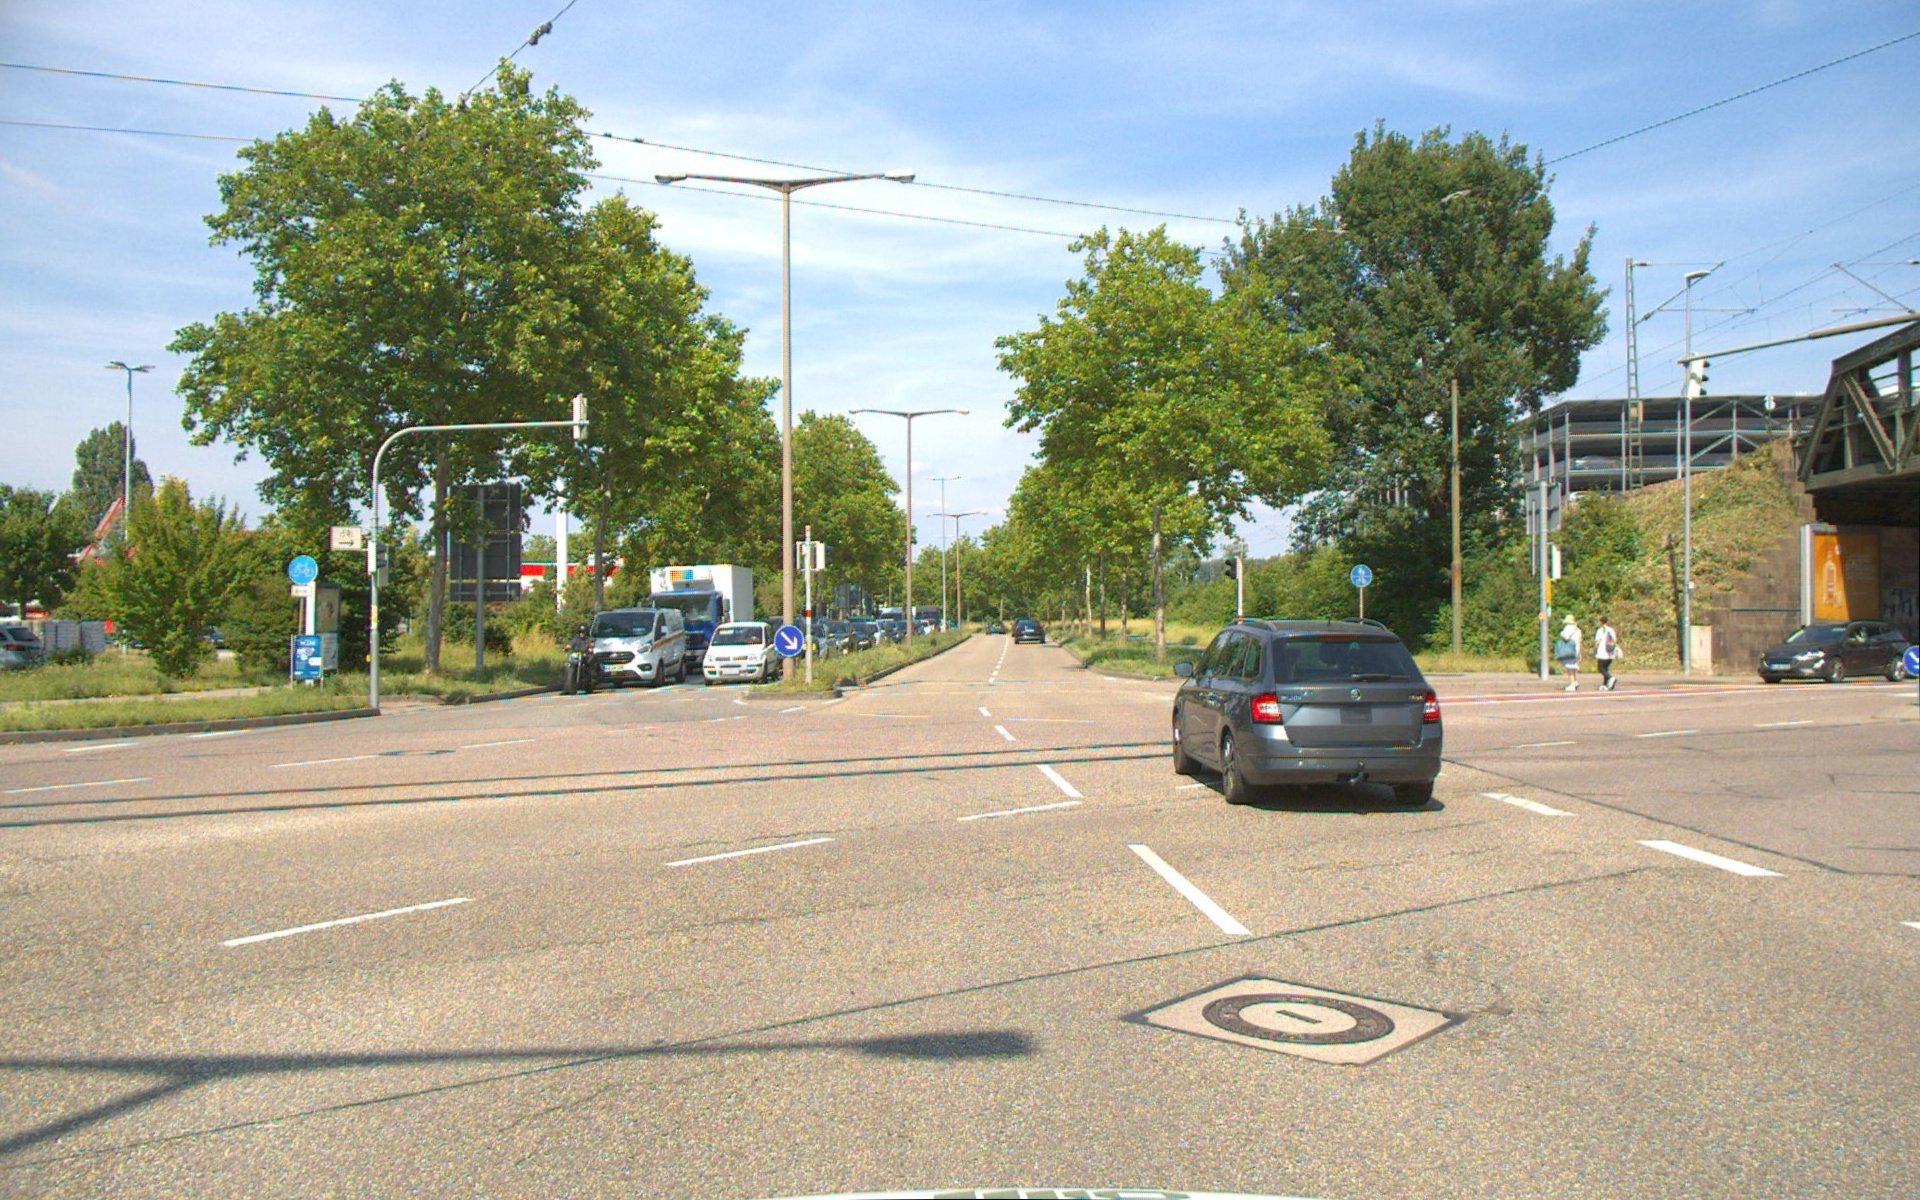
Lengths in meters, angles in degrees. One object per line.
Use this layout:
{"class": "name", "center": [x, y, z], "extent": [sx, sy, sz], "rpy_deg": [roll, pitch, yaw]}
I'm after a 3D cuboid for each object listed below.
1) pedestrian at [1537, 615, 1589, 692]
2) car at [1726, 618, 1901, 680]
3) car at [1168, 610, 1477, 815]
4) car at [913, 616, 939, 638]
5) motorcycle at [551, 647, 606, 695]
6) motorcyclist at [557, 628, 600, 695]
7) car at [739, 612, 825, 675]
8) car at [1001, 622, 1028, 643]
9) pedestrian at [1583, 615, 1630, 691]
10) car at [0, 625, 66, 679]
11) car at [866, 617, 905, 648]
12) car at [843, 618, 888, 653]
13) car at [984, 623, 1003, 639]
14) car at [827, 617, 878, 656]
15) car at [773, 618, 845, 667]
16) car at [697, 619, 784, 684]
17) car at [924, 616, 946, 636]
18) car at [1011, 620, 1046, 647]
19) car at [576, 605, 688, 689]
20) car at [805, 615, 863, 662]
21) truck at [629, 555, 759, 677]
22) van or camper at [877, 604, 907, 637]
{"class": "pedestrian", "center": [13.118, 1.151, 35.980], "extent": [0.850, 1.640, 0.777], "rpy_deg": [0, -1, 1]}
{"class": "car", "center": [20.894, 1.157, 40.442], "extent": [4.448, 1.433, 1.976], "rpy_deg": [0, -1, -35]}
{"class": "car", "center": [2.933, 0.842, 14.234], "extent": [1.640, 1.479, 4.034], "rpy_deg": [1, 0, -2]}
{"class": "car", "center": [-2.489, 1.937, 121.014], "extent": [1.654, 1.537, 3.815], "rpy_deg": [-1, 0, 2]}
{"class": "motorcycle", "center": [-8.665, 1.592, 37.665], "extent": [0.673, 1.009, 2.218], "rpy_deg": [0, 0, 2]}
{"class": "motorcyclist", "center": [-8.694, 1.394, 37.762], "extent": [0.728, 1.496, 0.988], "rpy_deg": [0, -1, 2]}
{"class": "car", "center": [-5.083, 1.251, 47.828], "extent": [1.782, 1.675, 4.694], "rpy_deg": [-1, -2, 2]}
{"class": "car", "center": [4.280, 2.557, 130.431], "extent": [1.869, 1.489, 4.581], "rpy_deg": [0, 0, -1]}
{"class": "pedestrian", "center": [14.001, 1.139, 35.829], "extent": [0.714, 1.607, 0.777], "rpy_deg": [0, -1, 1]}
{"class": "car", "center": [-27.080, 1.404, 44.821], "extent": [4.473, 1.439, 2.198], "rpy_deg": [0, -1, -6]}
{"class": "car", "center": [-3.892, 1.698, 86.957], "extent": [1.748, 1.515, 4.211], "rpy_deg": [-1, 0, 1]}
{"class": "car", "center": [-4.232, 1.568, 74.263], "extent": [1.654, 1.497, 3.815], "rpy_deg": [-1, 0, 2]}
{"class": "car", "center": [3.463, 3.194, 171.835], "extent": [1.869, 1.489, 4.581], "rpy_deg": [0, 0, -1]}
{"class": "car", "center": [-4.437, 1.483, 68.630], "extent": [1.654, 1.499, 4.219], "rpy_deg": [-2, 0, 2]}
{"class": "car", "center": [-4.950, 1.370, 54.698], "extent": [1.759, 1.493, 4.524], "rpy_deg": [-1, 0, 2]}
{"class": "car", "center": [-5.523, 1.269, 41.996], "extent": [1.560, 1.503, 3.730], "rpy_deg": [-1, 0, 2]}
{"class": "car", "center": [-2.071, 2.167, 137.627], "extent": [1.654, 1.557, 3.815], "rpy_deg": [-1, -1, 2]}
{"class": "car", "center": [4.052, 1.962, 98.379], "extent": [1.869, 1.489, 4.620], "rpy_deg": [0, 0, -1]}
{"class": "car", "center": [-8.392, 1.158, 42.781], "extent": [1.936, 2.034, 5.031], "rpy_deg": [0, 0, -1]}
{"class": "car", "center": [-4.626, 1.391, 61.272], "extent": [1.654, 1.614, 4.241], "rpy_deg": [-1, 0, 2]}
{"class": "truck", "center": [-8.347, 0.489, 52.651], "extent": [2.746, 3.532, 6.692], "rpy_deg": [-2, 0, 2]}
{"class": "van or camper", "center": [-5.542, 1.670, 135.485], "extent": [1.973, 2.633, 5.518], "rpy_deg": [-1, 0, 2]}
